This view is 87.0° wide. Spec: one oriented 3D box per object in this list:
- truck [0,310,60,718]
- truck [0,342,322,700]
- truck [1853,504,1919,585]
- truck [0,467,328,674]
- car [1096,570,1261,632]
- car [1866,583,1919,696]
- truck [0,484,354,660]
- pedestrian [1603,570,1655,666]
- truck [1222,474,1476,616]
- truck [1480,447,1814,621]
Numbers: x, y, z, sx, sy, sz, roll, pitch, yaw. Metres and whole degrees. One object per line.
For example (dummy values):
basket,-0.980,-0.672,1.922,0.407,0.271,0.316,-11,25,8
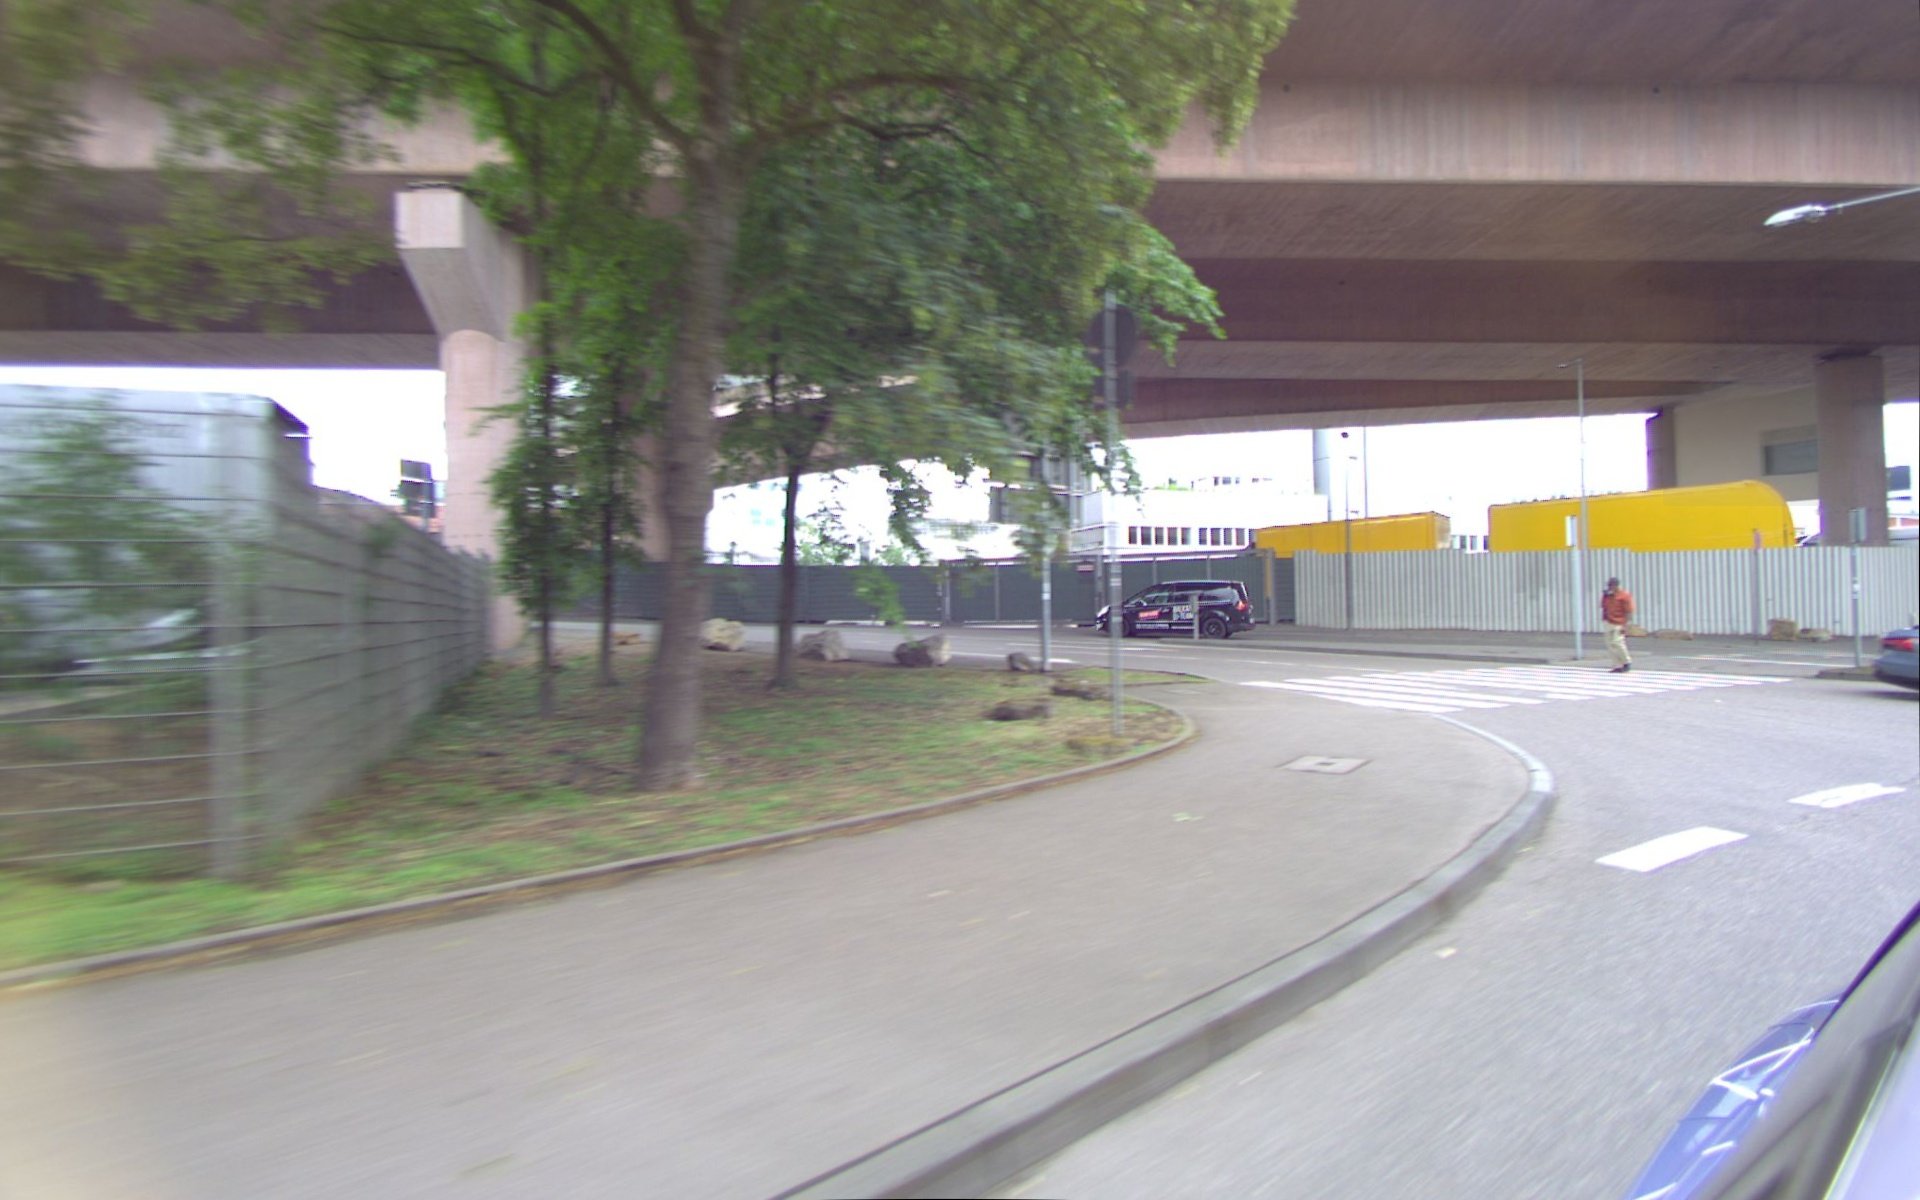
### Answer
truck,-12.501,-0.846,8.449,6.777,4.013,3.082,0,0,-20
truck,-12.458,-0.894,11.957,7.879,3.916,3.082,0,0,-22
truck,38.348,-2.116,36.872,8.685,2.978,3.102,1,5,43
truck,-13.883,-0.442,15.769,6.420,2.935,2.931,0,1,-22
car,6.491,0.023,30.023,4.507,1.700,1.986,-1,1,22
car,15.315,0.524,13.385,4.915,1.520,2.140,0,1,44
truck,-15.266,-0.488,18.862,6.420,2.935,2.931,0,1,-22
pedestrian,12.084,0.307,18.295,0.546,1.697,0.539,0,1,-13
truck,15.005,-1.918,39.635,8.680,4.965,3.101,-1,0,42
truck,22.294,-1.868,33.245,8.680,4.980,3.101,-1,0,42
